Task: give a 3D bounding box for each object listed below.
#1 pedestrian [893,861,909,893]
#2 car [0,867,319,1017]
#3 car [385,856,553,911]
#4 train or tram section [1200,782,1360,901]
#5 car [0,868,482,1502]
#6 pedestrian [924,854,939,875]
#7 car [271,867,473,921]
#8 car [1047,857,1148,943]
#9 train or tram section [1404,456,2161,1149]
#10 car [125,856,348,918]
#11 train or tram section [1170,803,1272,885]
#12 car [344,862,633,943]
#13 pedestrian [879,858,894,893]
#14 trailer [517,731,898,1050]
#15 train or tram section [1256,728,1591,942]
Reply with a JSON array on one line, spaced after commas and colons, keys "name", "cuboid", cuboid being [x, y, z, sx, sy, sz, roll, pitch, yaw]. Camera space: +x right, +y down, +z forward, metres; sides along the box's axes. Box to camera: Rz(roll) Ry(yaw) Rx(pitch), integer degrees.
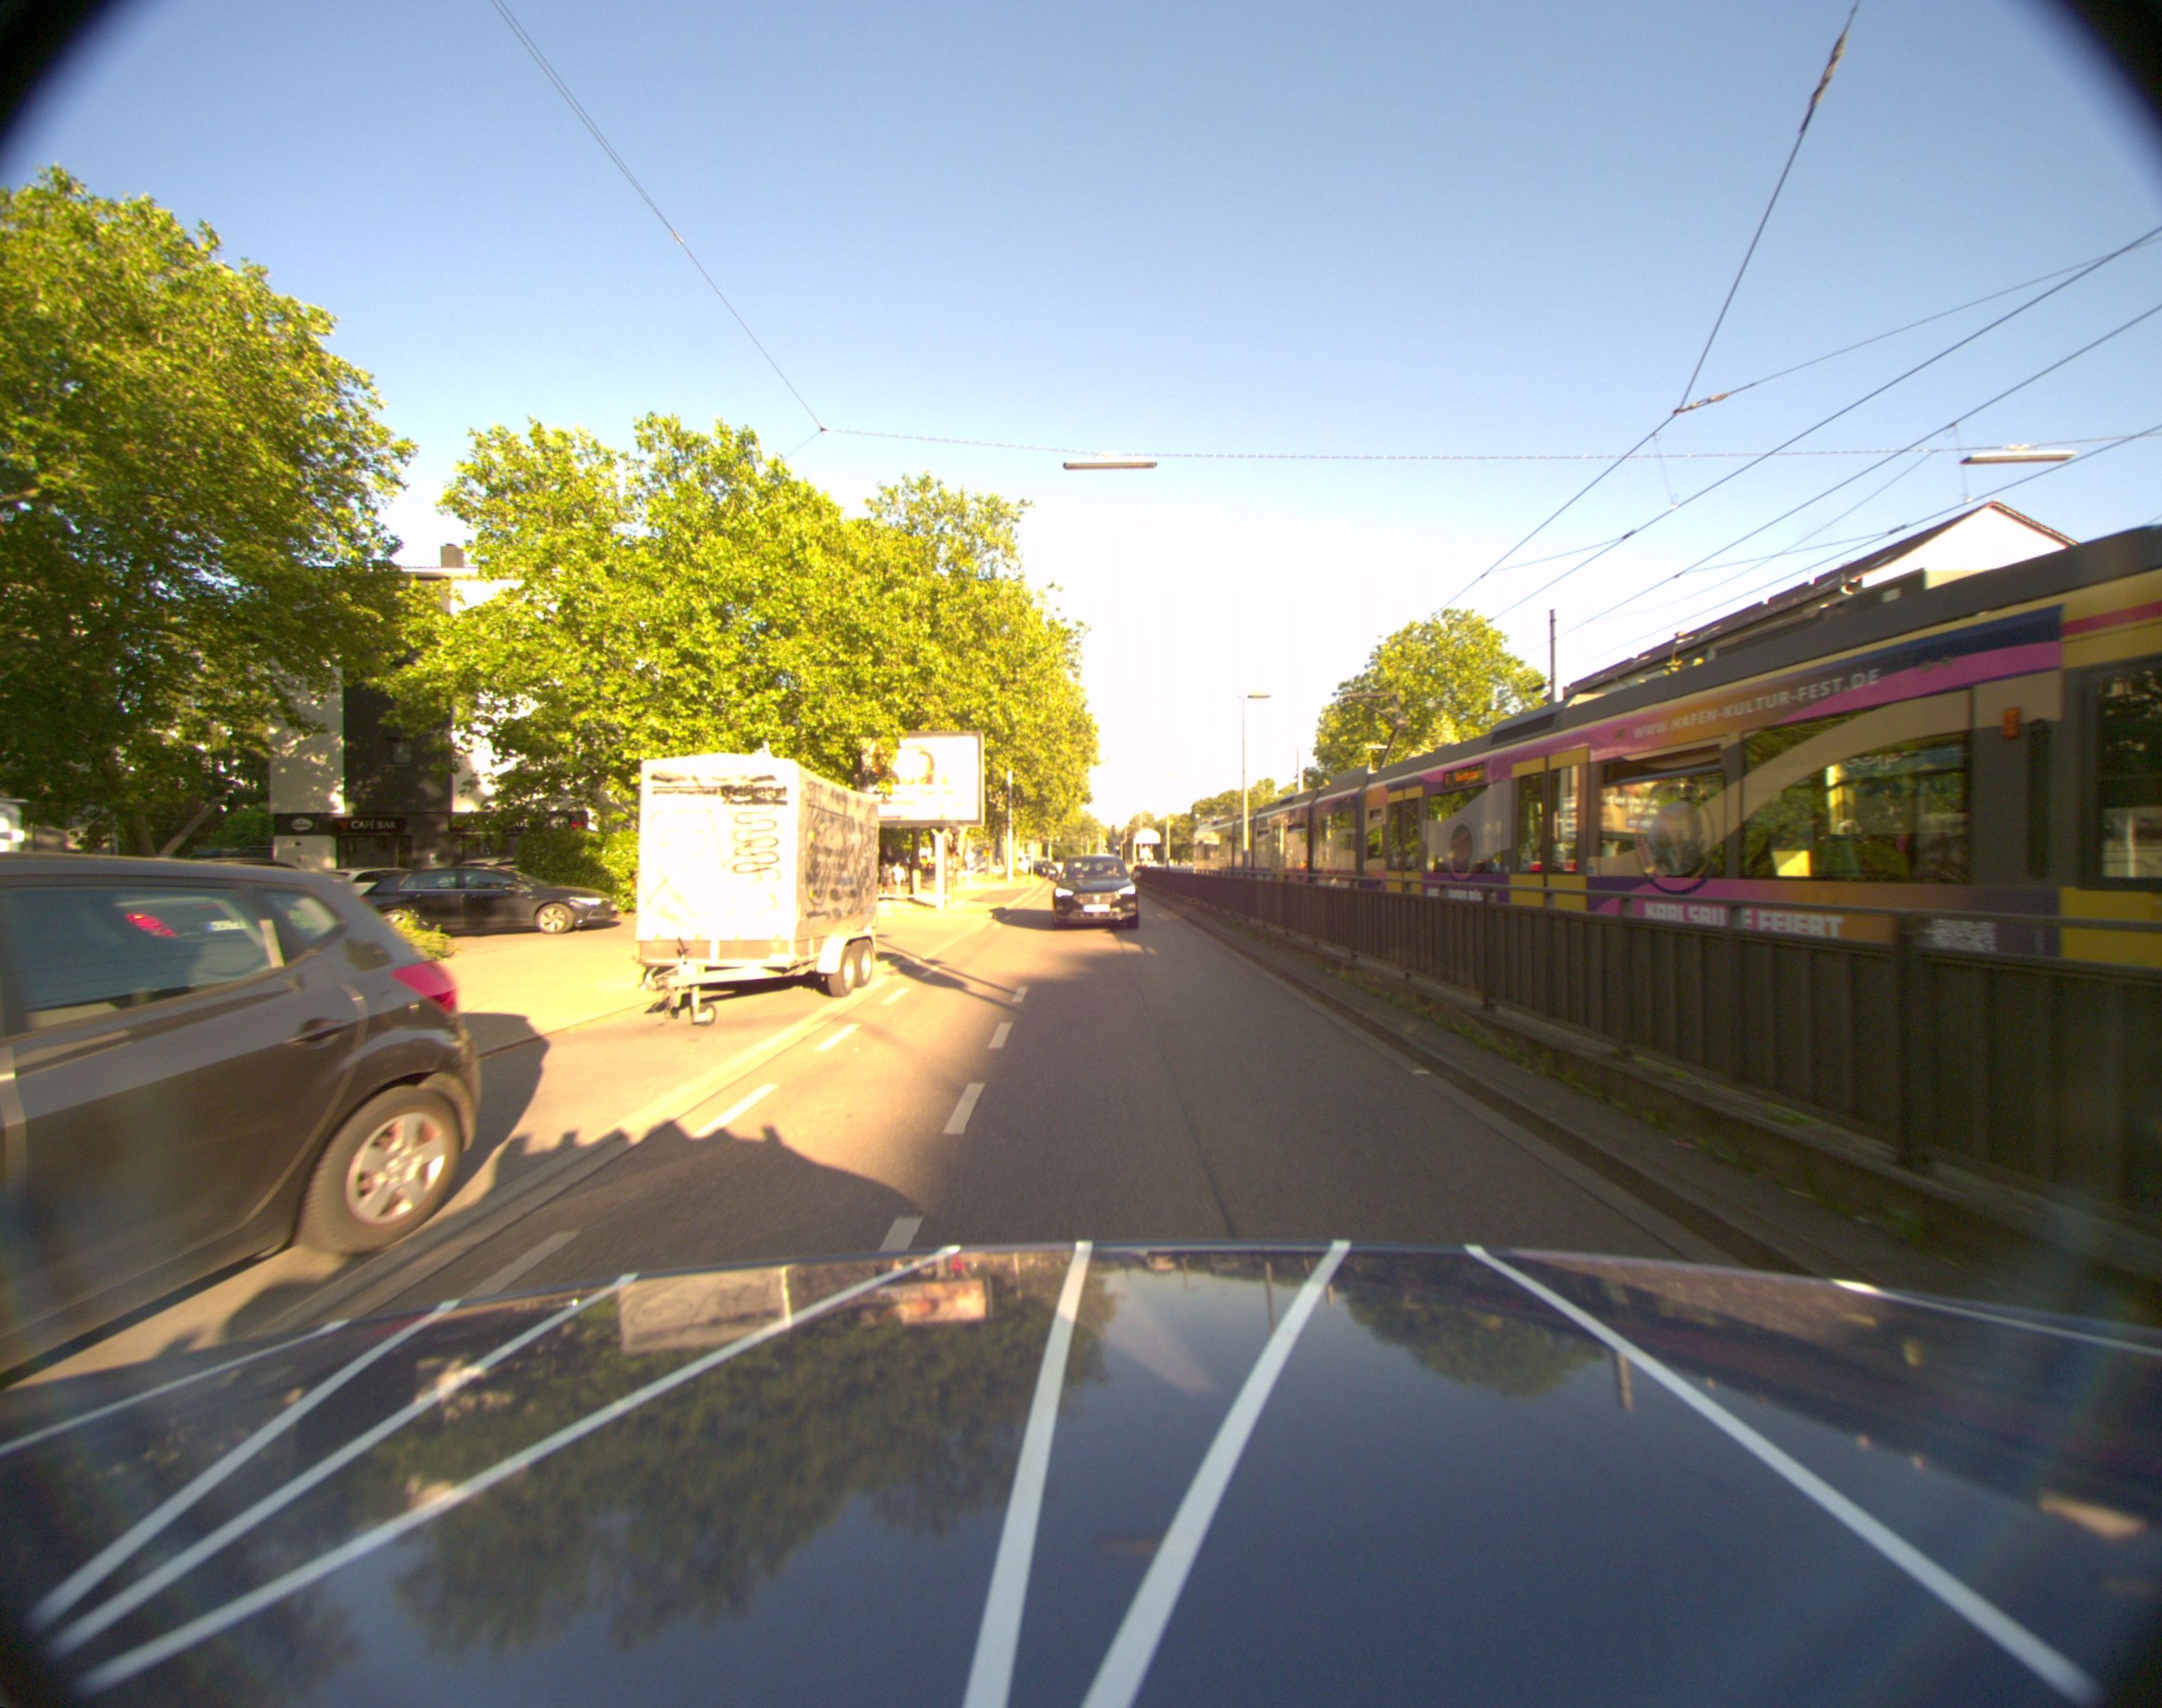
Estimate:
[{"name": "pedestrian", "cuboid": [-8.791, 1.116, 37.132, 0.626, 1.533, 0.765, -1, 0, -3]}, {"name": "car", "cuboid": [-11.919, 0.922, 8.672, 4.293, 1.487, 1.999, 0, 0, -3]}, {"name": "car", "cuboid": [-19.343, 0.858, 24.307, 1.819, 1.600, 4.299, 0, 0, 1]}, {"name": "train or tram section", "cuboid": [6.734, -0.404, 27.698, 3.043, 3.497, 10.095, 1, 0, -1]}, {"name": "car", "cuboid": [-3.718, 0.878, 1.536, 1.800, 1.621, 4.000, 0, 0, 1]}, {"name": "pedestrian", "cuboid": [-12.862, 0.907, 65.539, 1.062, 1.853, 0.951, 0, 0, 1]}, {"name": "car", "cuboid": [-21.824, 1.180, 23.665, 1.997, 1.467, 4.203, 0, 0, 11]}, {"name": "car", "cuboid": [0.251, 0.908, 16.895, 1.911, 1.606, 4.085, -3, 0, -2]}, {"name": "train or tram section", "cuboid": [6.931, -0.270, 7.490, 3.043, 3.497, 10.095, 1, 0, -1]}, {"name": "car", "cuboid": [-26.048, 0.940, 23.689, 1.997, 1.741, 4.203, 0, 0, 11]}, {"name": "train or tram section", "cuboid": [6.639, -0.471, 37.811, 3.043, 3.497, 10.095, 1, 0, -1]}, {"name": "car", "cuboid": [-12.089, 0.941, 15.857, 4.297, 1.487, 1.998, 0, 0, -13]}, {"name": "pedestrian", "cuboid": [-9.509, 1.046, 37.188, 0.555, 1.658, 0.694, -1, 0, -3]}, {"name": "trailer", "cuboid": [-3.585, 0.305, 8.483, 1.890, 2.573, 4.651, 0, 0, 1]}, {"name": "train or tram section", "cuboid": [6.820, -0.333, 17.584, 3.043, 3.497, 10.095, 1, 0, -1]}]
